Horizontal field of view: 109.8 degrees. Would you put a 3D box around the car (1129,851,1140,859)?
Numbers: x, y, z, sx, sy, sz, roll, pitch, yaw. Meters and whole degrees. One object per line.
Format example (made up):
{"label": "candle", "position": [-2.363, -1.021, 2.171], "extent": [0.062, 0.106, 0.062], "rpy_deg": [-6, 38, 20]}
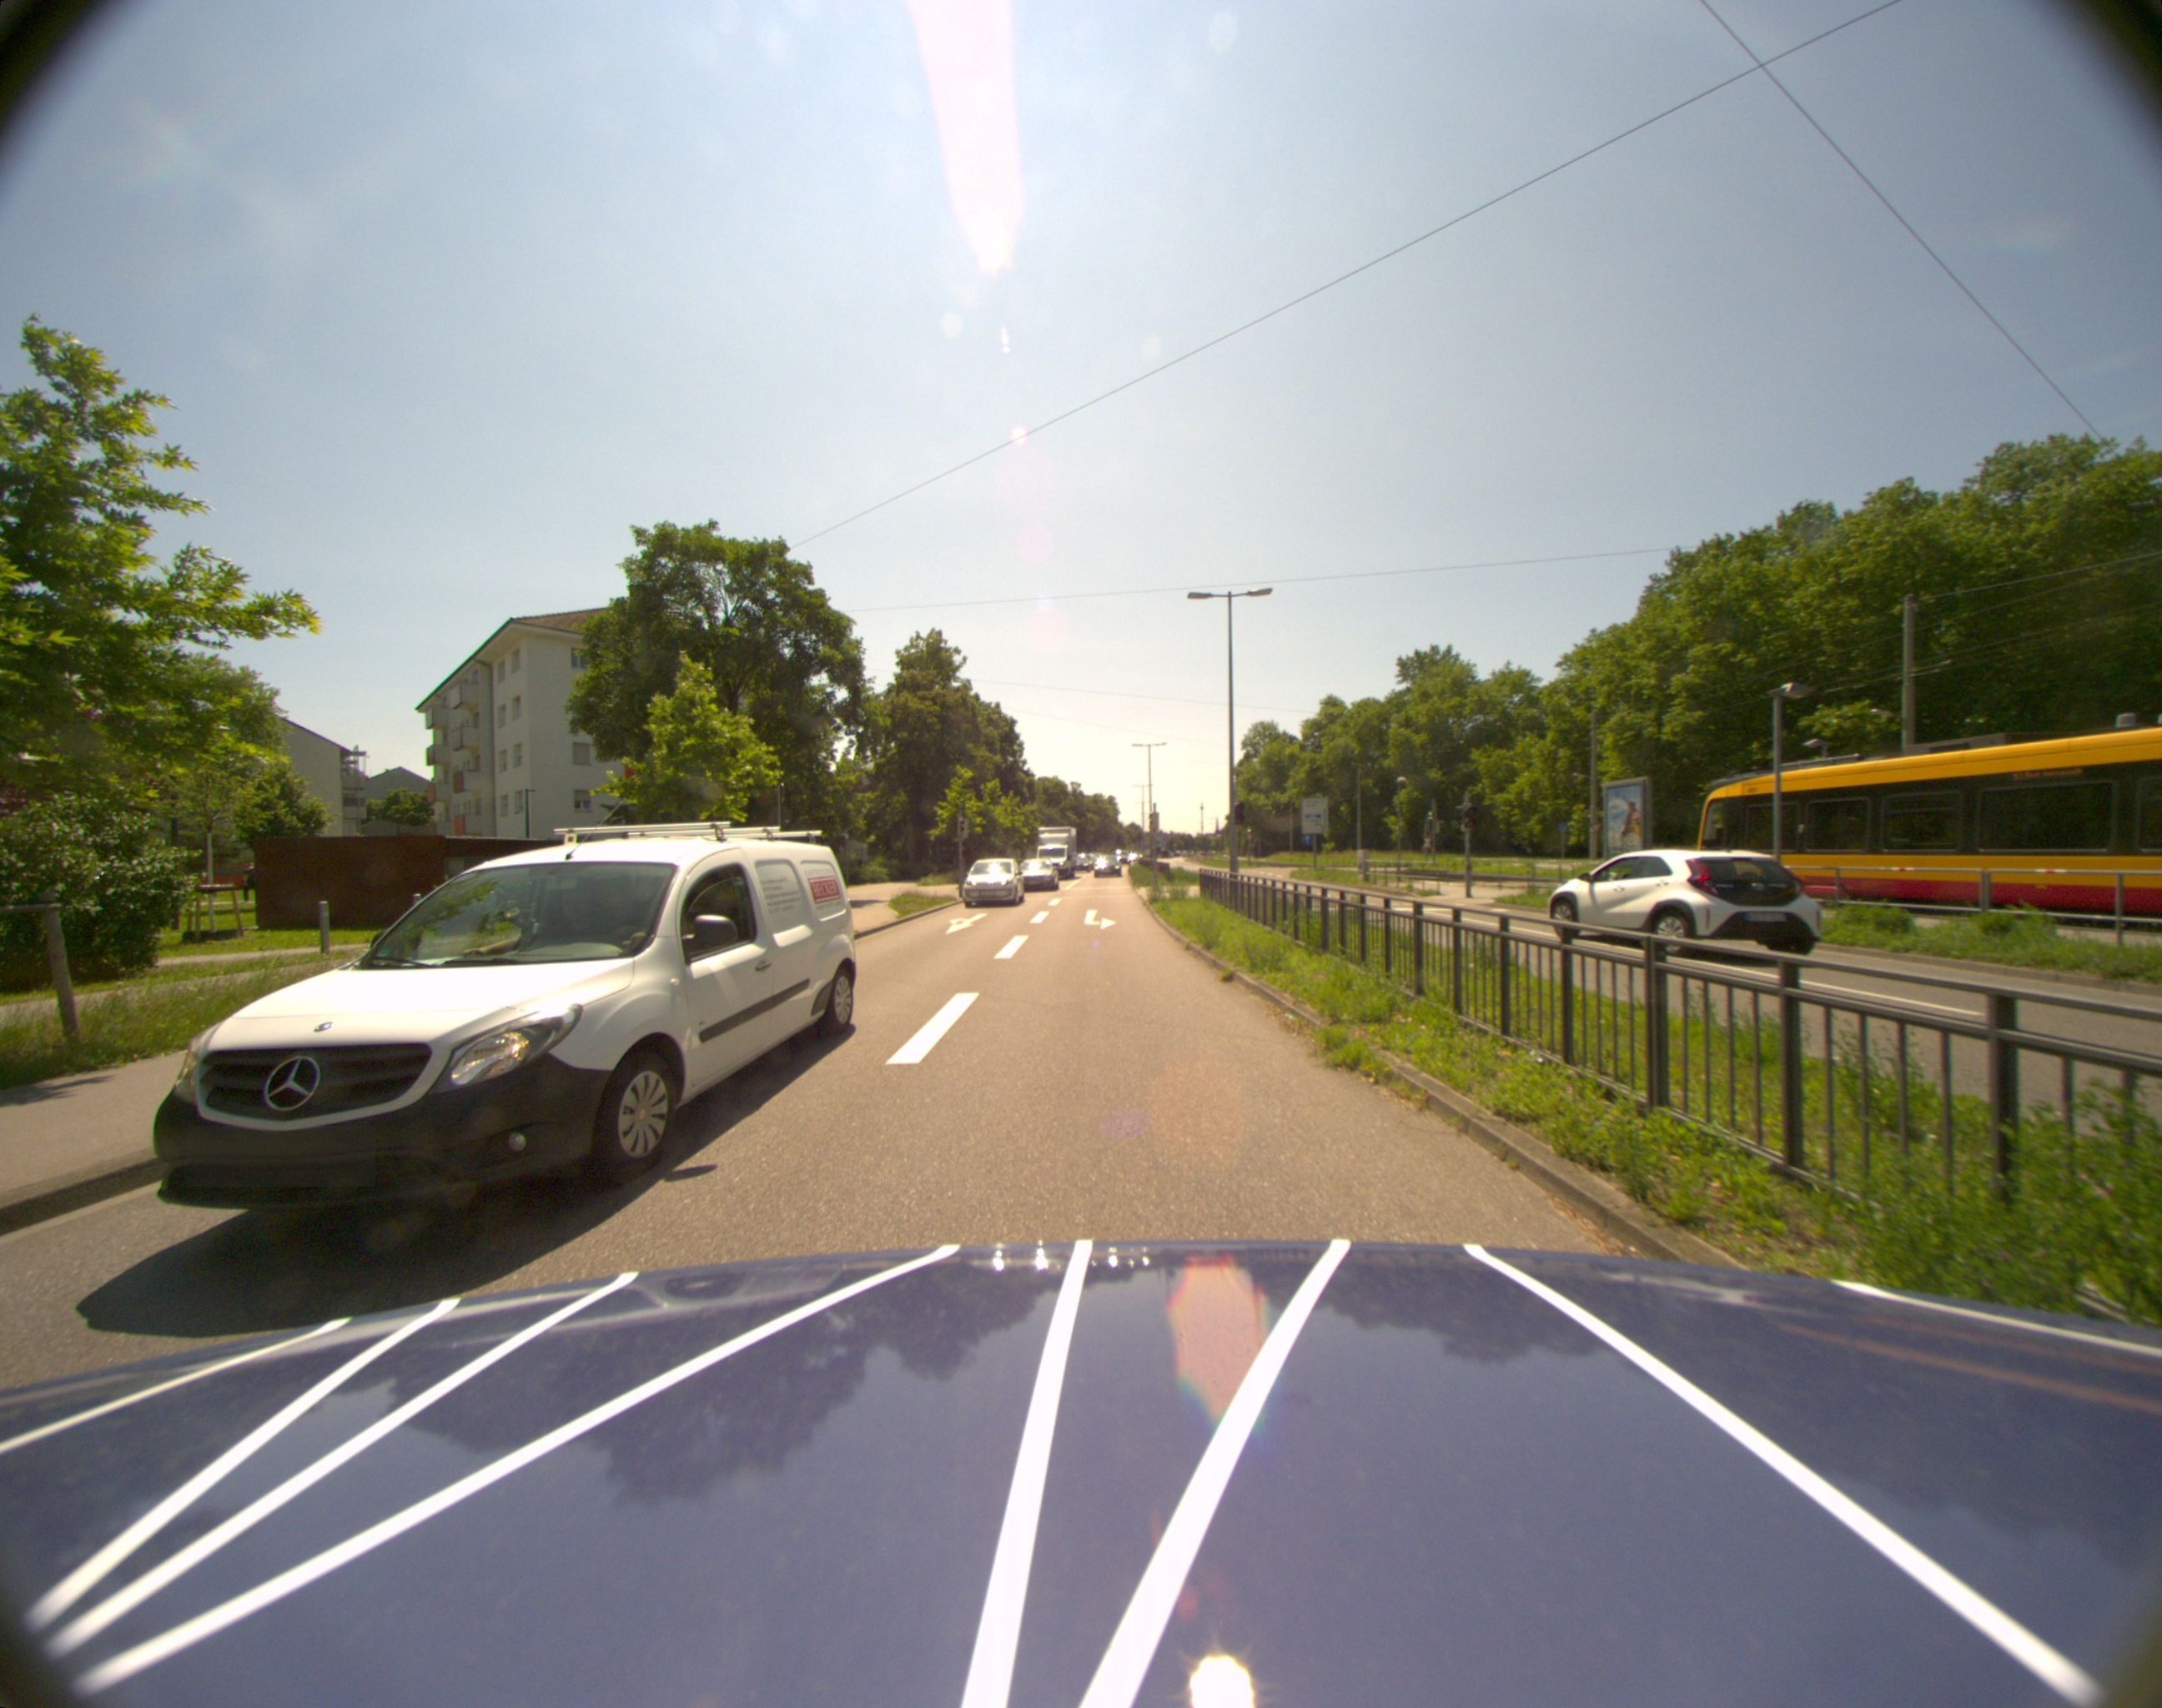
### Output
{"label": "car", "position": [9.798, 0.098, 139.717], "extent": [1.745, 1.382, 3.889], "rpy_deg": [-1, 1, 8]}

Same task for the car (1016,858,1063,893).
{"label": "car", "position": [-1.808, 0.935, 34.301], "extent": [1.618, 1.373, 4.115], "rpy_deg": [-2, 0, 3]}

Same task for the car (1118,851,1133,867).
{"label": "car", "position": [5.444, 0.611, 92.734], "extent": [1.746, 1.840, 3.887], "rpy_deg": [-1, 1, 3]}

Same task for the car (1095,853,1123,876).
{"label": "car", "position": [1.889, 0.670, 50.710], "extent": [1.746, 1.382, 3.887], "rpy_deg": [-1, 1, 3]}

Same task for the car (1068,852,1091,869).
{"label": "car", "position": [-0.125, 0.528, 64.758], "extent": [1.746, 1.382, 3.887], "rpy_deg": [-1, 1, 3]}

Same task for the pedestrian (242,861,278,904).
{"label": "pedestrian", "position": [-37.671, 1.321, 34.862], "extent": [0.887, 1.907, 0.756], "rpy_deg": [-2, 1, 21]}

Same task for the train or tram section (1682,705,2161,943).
{"label": "train or tram section", "position": [18.973, -0.568, 16.463], "extent": [2.957, 3.833, 11.541], "rpy_deg": [-2, 0, 2]}

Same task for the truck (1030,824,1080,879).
{"label": "truck", "position": [-1.570, -0.180, 49.127], "extent": [2.489, 3.277, 6.606], "rpy_deg": [-1, 1, 4]}

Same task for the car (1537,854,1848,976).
{"label": "car", "position": [8.976, 0.785, 11.619], "extent": [1.774, 1.496, 3.719], "rpy_deg": [-1, 0, 0]}

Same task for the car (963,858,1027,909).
{"label": "car", "position": [-2.727, 0.918, 24.810], "extent": [1.626, 1.433, 3.498], "rpy_deg": [-2, 0, 0]}

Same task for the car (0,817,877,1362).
{"label": "car", "position": [-3.055, 0.818, 5.188], "extent": [1.809, 1.845, 5.082], "rpy_deg": [-2, 0, 1]}

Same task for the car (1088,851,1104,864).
{"label": "car", "position": [1.737, 0.412, 86.258], "extent": [1.746, 1.382, 3.887], "rpy_deg": [-1, 1, 3]}

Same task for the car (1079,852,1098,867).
{"label": "car", "position": [0.807, 0.576, 76.234], "extent": [1.618, 1.373, 4.115], "rpy_deg": [-2, 0, 3]}
